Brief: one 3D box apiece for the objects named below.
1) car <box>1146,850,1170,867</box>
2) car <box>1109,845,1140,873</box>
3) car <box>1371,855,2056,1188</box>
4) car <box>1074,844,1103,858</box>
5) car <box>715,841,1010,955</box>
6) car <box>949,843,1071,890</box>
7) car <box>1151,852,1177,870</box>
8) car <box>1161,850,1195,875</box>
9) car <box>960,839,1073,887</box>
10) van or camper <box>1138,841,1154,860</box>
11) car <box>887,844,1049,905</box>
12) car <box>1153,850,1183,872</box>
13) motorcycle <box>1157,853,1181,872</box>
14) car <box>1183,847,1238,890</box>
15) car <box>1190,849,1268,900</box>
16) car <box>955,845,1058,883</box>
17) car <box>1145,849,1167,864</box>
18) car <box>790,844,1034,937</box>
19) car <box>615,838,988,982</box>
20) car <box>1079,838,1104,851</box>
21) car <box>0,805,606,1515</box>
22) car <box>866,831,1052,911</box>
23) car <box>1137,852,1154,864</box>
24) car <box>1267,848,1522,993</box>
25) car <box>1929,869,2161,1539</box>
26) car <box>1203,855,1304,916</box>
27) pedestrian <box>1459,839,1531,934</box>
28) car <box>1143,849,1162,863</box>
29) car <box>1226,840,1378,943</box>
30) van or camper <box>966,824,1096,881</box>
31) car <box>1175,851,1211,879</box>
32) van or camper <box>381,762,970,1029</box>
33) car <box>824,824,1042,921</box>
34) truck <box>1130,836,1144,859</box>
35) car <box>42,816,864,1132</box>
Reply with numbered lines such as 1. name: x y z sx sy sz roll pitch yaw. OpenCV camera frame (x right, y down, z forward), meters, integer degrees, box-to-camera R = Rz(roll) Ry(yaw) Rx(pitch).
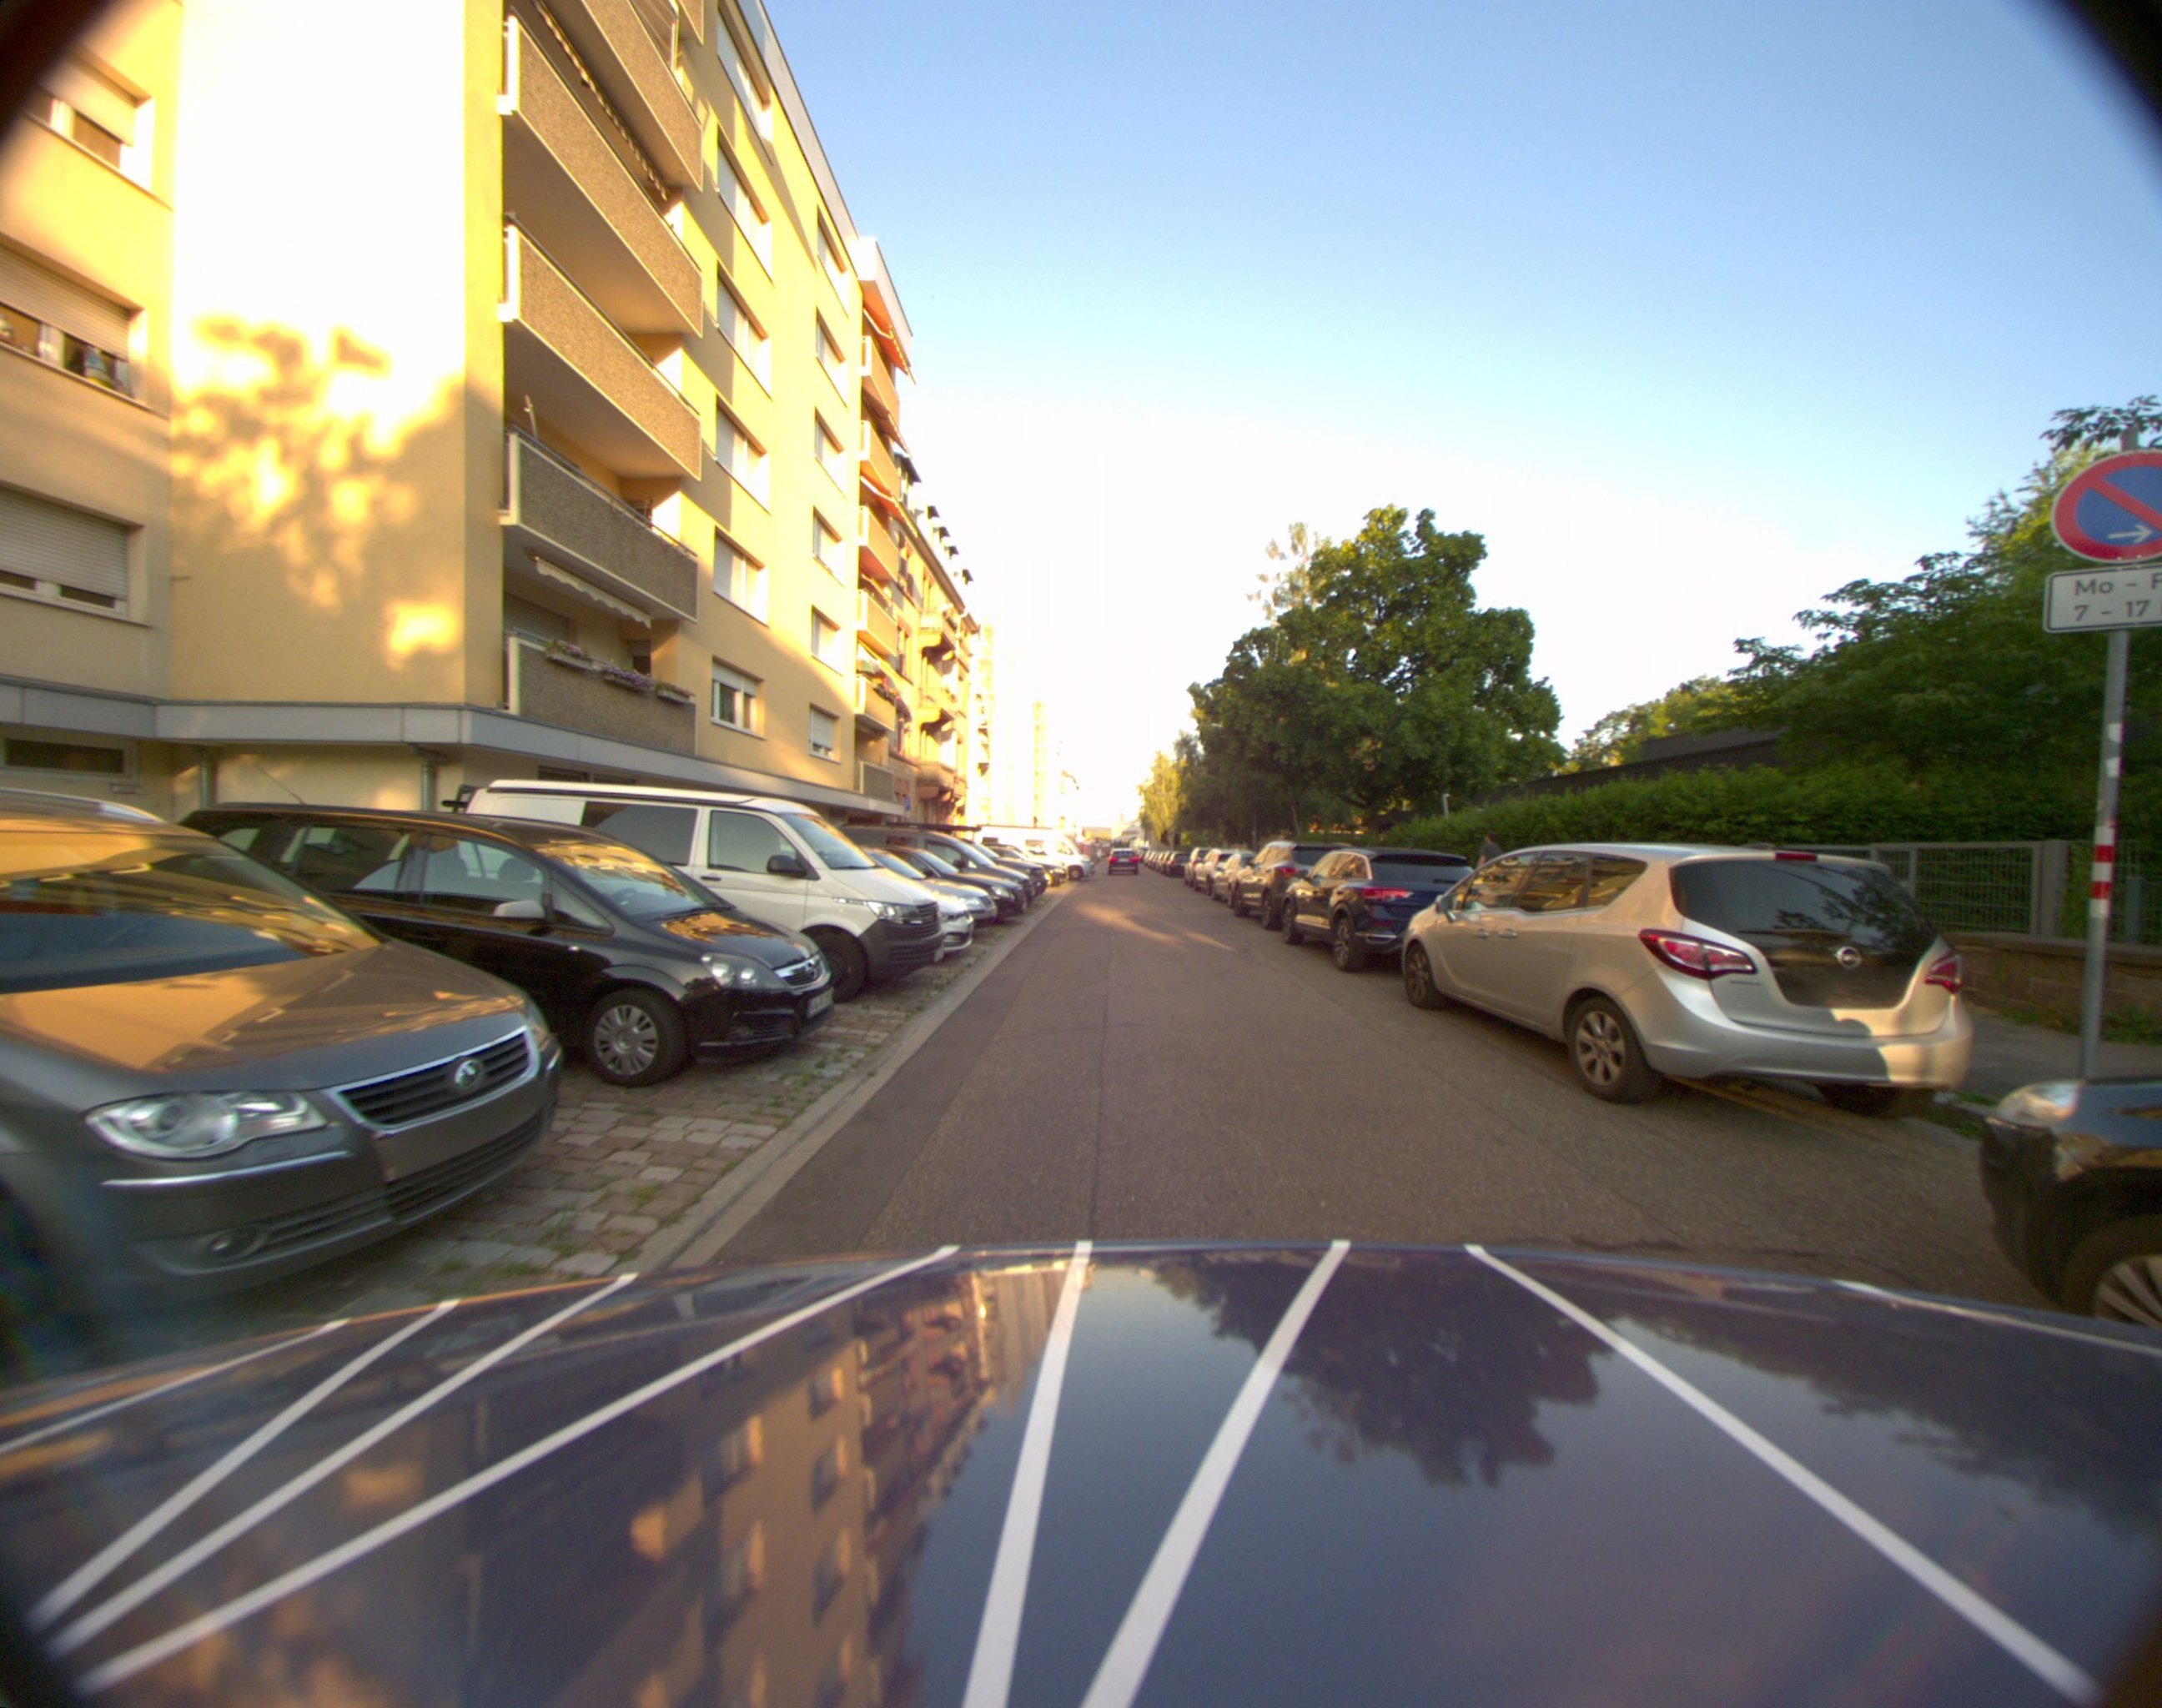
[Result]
1. car: 6.591 0.398 65.023 1.737 1.358 3.805 2 1 2
2. car: 2.626 0.291 46.721 1.737 1.622 4.126 2 1 2
3. car: 3.916 0.838 5.825 1.738 1.558 4.129 2 1 0
4. car: 1.112 -0.386 108.906 3.996 2.002 2.000 0 1 2
5. car: -3.555 0.675 12.880 4.414 1.584 1.845 2 3 2
6. car: -2.681 0.454 29.374 4.413 1.545 1.845 2 3 3
7. car: 6.487 0.511 59.820 1.737 1.280 3.805 2 1 2
8. car: 6.036 0.493 47.668 1.737 1.438 3.805 2 1 3
9. car: -2.664 0.350 31.941 4.412 1.739 1.846 2 3 6
10. van or camper: 8.848 -0.465 103.012 1.824 2.400 4.291 2 1 2
11. car: -3.302 0.565 22.690 4.413 1.545 1.845 2 3 5
12. car: 6.164 0.476 54.287 1.737 1.417 3.805 2 1 2
13. motorcycle: 5.927 0.543 51.253 1.596 1.251 0.785 0 1 5
14. car: 5.235 0.541 31.212 1.737 1.622 3.981 2 1 3
15. car: 4.918 0.615 25.885 1.763 1.534 4.280 2 1 0
16. car: -3.326 0.418 34.510 4.413 1.610 1.845 0 3 4
17. car: 7.212 0.210 73.454 1.737 1.358 4.291 2 1 2
18. car: -3.254 0.668 15.198 4.414 1.554 1.845 2 3 2
19. car: -3.652 0.685 10.461 4.414 1.622 1.845 2 3 2
20. car: 1.720 -1.578 123.083 3.996 2.002 2.000 0 1 2
21. car: -4.547 0.667 2.787 4.414 1.652 1.845 3 3 0
22. car: -3.121 0.414 20.041 4.523 1.852 1.846 2 1 2
23. car: 7.771 0.419 91.682 1.737 1.358 4.291 2 1 2
24. car: 3.994 0.725 10.530 1.738 1.558 4.167 2 1 0
25. car: 3.434 0.868 0.416 1.738 1.558 3.696 2 1 0
26. car: 4.600 0.779 20.923 1.738 1.418 4.286 2 1 0
27. pedestrian: 7.829 0.602 14.394 0.901 1.722 0.750 -2 1 1
28. car: 7.457 0.219 79.610 1.737 1.358 4.291 2 1 2
29. car: 4.247 0.633 15.332 1.738 1.720 4.322 2 1 0
30. van or camper: -2.366 -0.101 37.319 6.073 2.490 2.050 2 1 3
31. car: 6.170 0.596 42.266 1.623 1.417 3.416 2 1 3
32. van or camper: -3.999 0.376 8.184 5.145 2.155 2.040 4 2 1
33. car: -3.333 0.370 17.712 4.648 1.970 1.845 2 3 2
34. truck: 9.578 -1.049 130.146 2.182 3.860 4.927 0 1 3
35. car: -4.006 0.683 5.415 4.336 1.652 1.781 3 3 0
